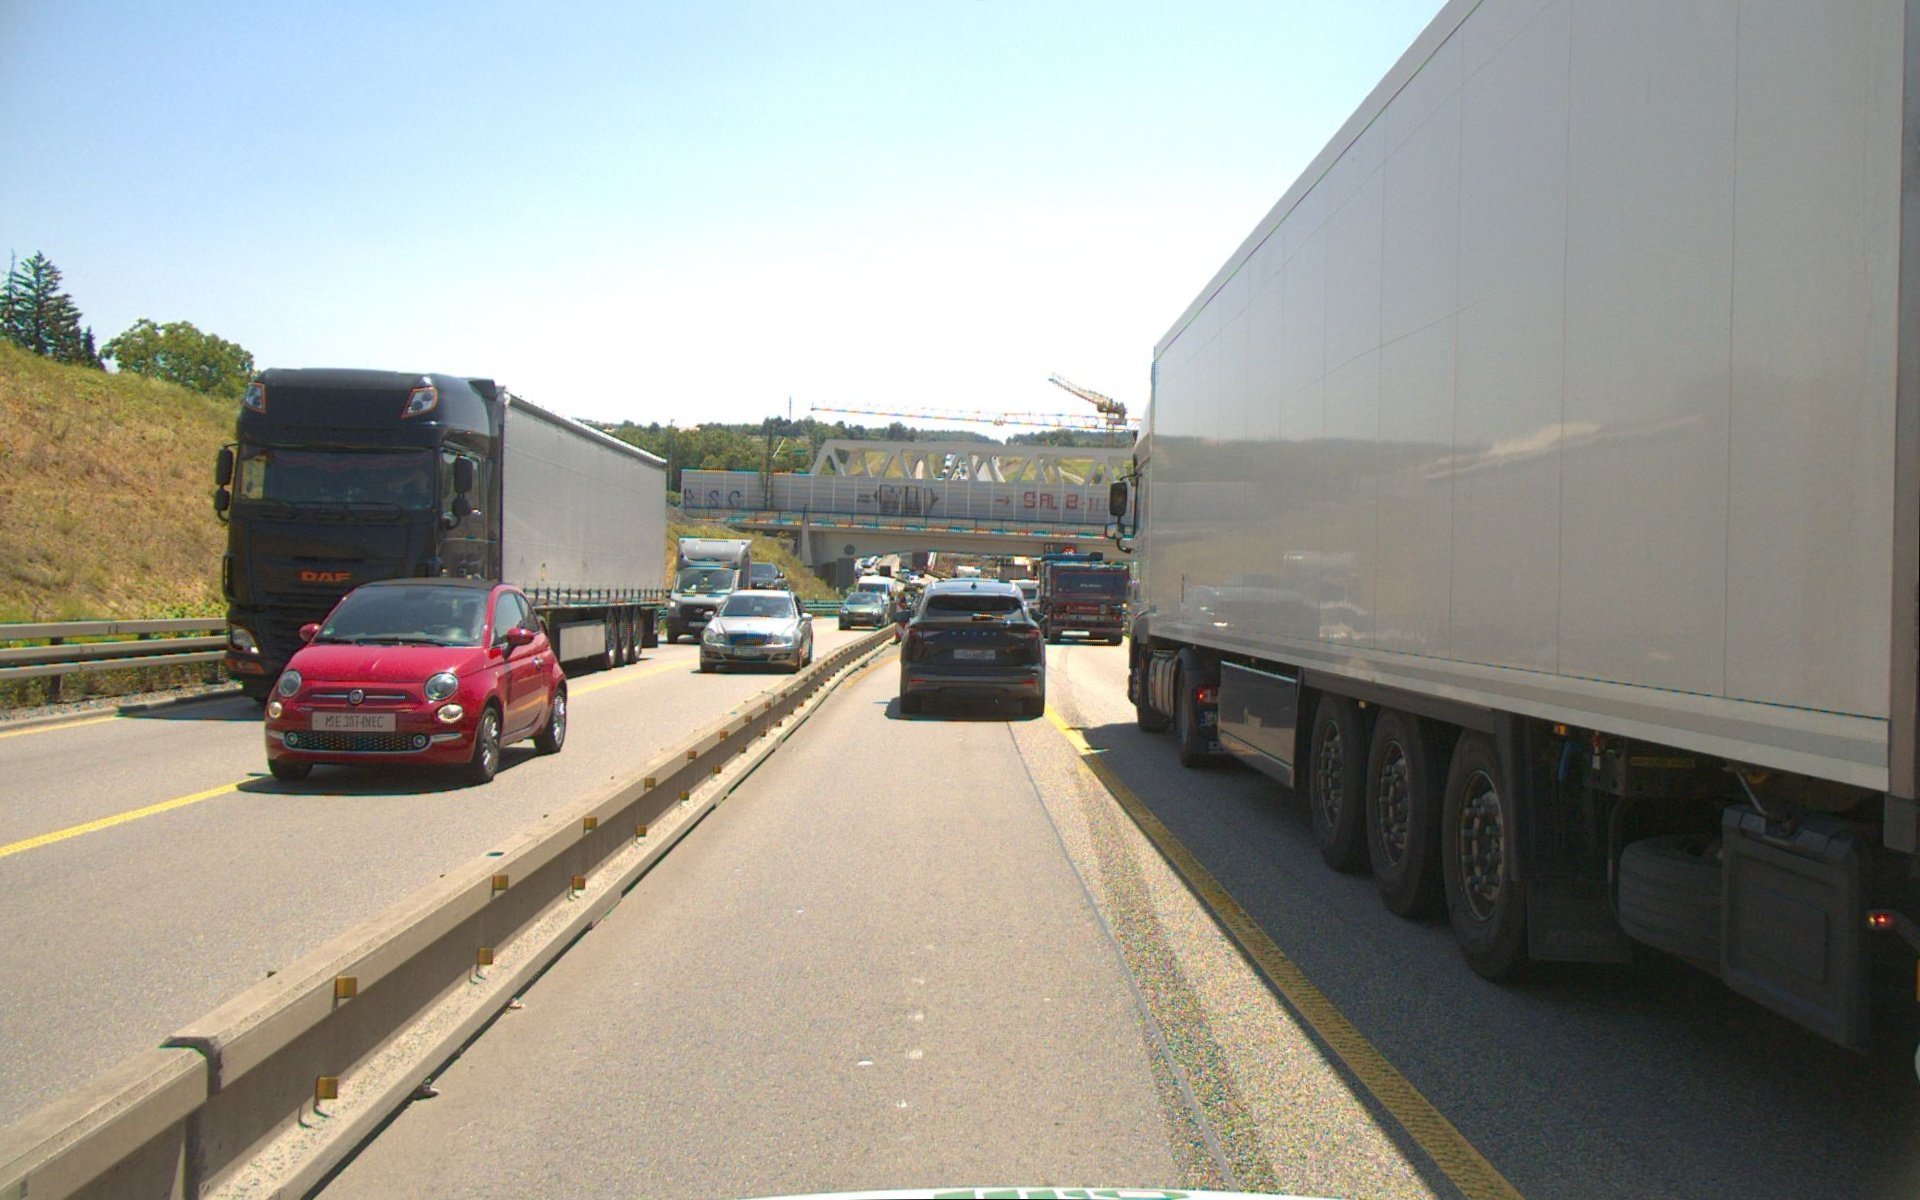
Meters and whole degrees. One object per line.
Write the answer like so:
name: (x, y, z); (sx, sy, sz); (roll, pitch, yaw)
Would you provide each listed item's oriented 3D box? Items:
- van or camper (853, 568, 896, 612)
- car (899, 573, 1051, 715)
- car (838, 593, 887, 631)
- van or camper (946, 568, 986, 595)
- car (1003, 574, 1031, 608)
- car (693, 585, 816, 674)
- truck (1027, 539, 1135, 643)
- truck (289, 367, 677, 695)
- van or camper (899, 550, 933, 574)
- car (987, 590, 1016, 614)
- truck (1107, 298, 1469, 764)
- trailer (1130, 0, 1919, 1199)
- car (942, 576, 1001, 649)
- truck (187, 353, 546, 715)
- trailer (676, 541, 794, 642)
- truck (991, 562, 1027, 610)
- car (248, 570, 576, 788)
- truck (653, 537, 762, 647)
van or camper: (-5.093, -0.588, 99.034); (2.170, 2.524, 4.751); (1, 0, 1)
car: (0.154, 0.511, 20.982); (1.764, 1.649, 3.297); (0, 0, -1)
car: (-3.826, 0.457, 65.361); (1.632, 1.453, 4.000); (0, 0, 0)
van or camper: (0.744, -2.505, 225.281); (3.873, 3.479, 8.384); (1, 1, -11)
car: (3.966, -0.629, 115.934); (1.628, 2.309, 3.795); (2, 0, -2)
car: (-3.722, 0.492, 30.634); (1.789, 1.513, 4.195); (1, 0, -1)
truck: (4.034, -0.319, 57.952); (2.756, 3.189, 12.837); (1, 0, 0)
truck: (-7.316, -0.932, 28.202); (2.711, 4.159, 13.804); (1, 0, -1)
van or camper: (-6.948, -5.957, 260.097); (3.873, 3.479, 8.384); (1, 1, -11)
car: (2.500, 0.108, 99.941); (1.461, 1.354, 3.243); (2, 0, -2)
truck: (3.153, -0.625, 17.256); (2.720, 4.129, 4.904); (1, 0, -1)
trailer: (3.257, -0.581, 10.449); (2.744, 4.129, 14.115); (1, 0, 0)
car: (0.317, 0.302, 43.910); (1.444, 1.826, 3.298); (2, 0, 1)
truck: (-7.207, -0.749, 20.845); (2.711, 3.952, 4.963); (1, 0, -1)
trailer: (-7.243, -0.280, 54.954); (2.222, 2.932, 13.041); (1, 0, -1)
truck: (4.539, -1.295, 156.315); (3.111, 4.393, 9.257); (1, 0, 0)
car: (-4.228, 0.543, 13.258); (1.558, 1.513, 3.294); (1, 0, -1)
truck: (-7.172, -0.240, 47.584); (2.222, 2.932, 5.850); (1, 0, -1)
